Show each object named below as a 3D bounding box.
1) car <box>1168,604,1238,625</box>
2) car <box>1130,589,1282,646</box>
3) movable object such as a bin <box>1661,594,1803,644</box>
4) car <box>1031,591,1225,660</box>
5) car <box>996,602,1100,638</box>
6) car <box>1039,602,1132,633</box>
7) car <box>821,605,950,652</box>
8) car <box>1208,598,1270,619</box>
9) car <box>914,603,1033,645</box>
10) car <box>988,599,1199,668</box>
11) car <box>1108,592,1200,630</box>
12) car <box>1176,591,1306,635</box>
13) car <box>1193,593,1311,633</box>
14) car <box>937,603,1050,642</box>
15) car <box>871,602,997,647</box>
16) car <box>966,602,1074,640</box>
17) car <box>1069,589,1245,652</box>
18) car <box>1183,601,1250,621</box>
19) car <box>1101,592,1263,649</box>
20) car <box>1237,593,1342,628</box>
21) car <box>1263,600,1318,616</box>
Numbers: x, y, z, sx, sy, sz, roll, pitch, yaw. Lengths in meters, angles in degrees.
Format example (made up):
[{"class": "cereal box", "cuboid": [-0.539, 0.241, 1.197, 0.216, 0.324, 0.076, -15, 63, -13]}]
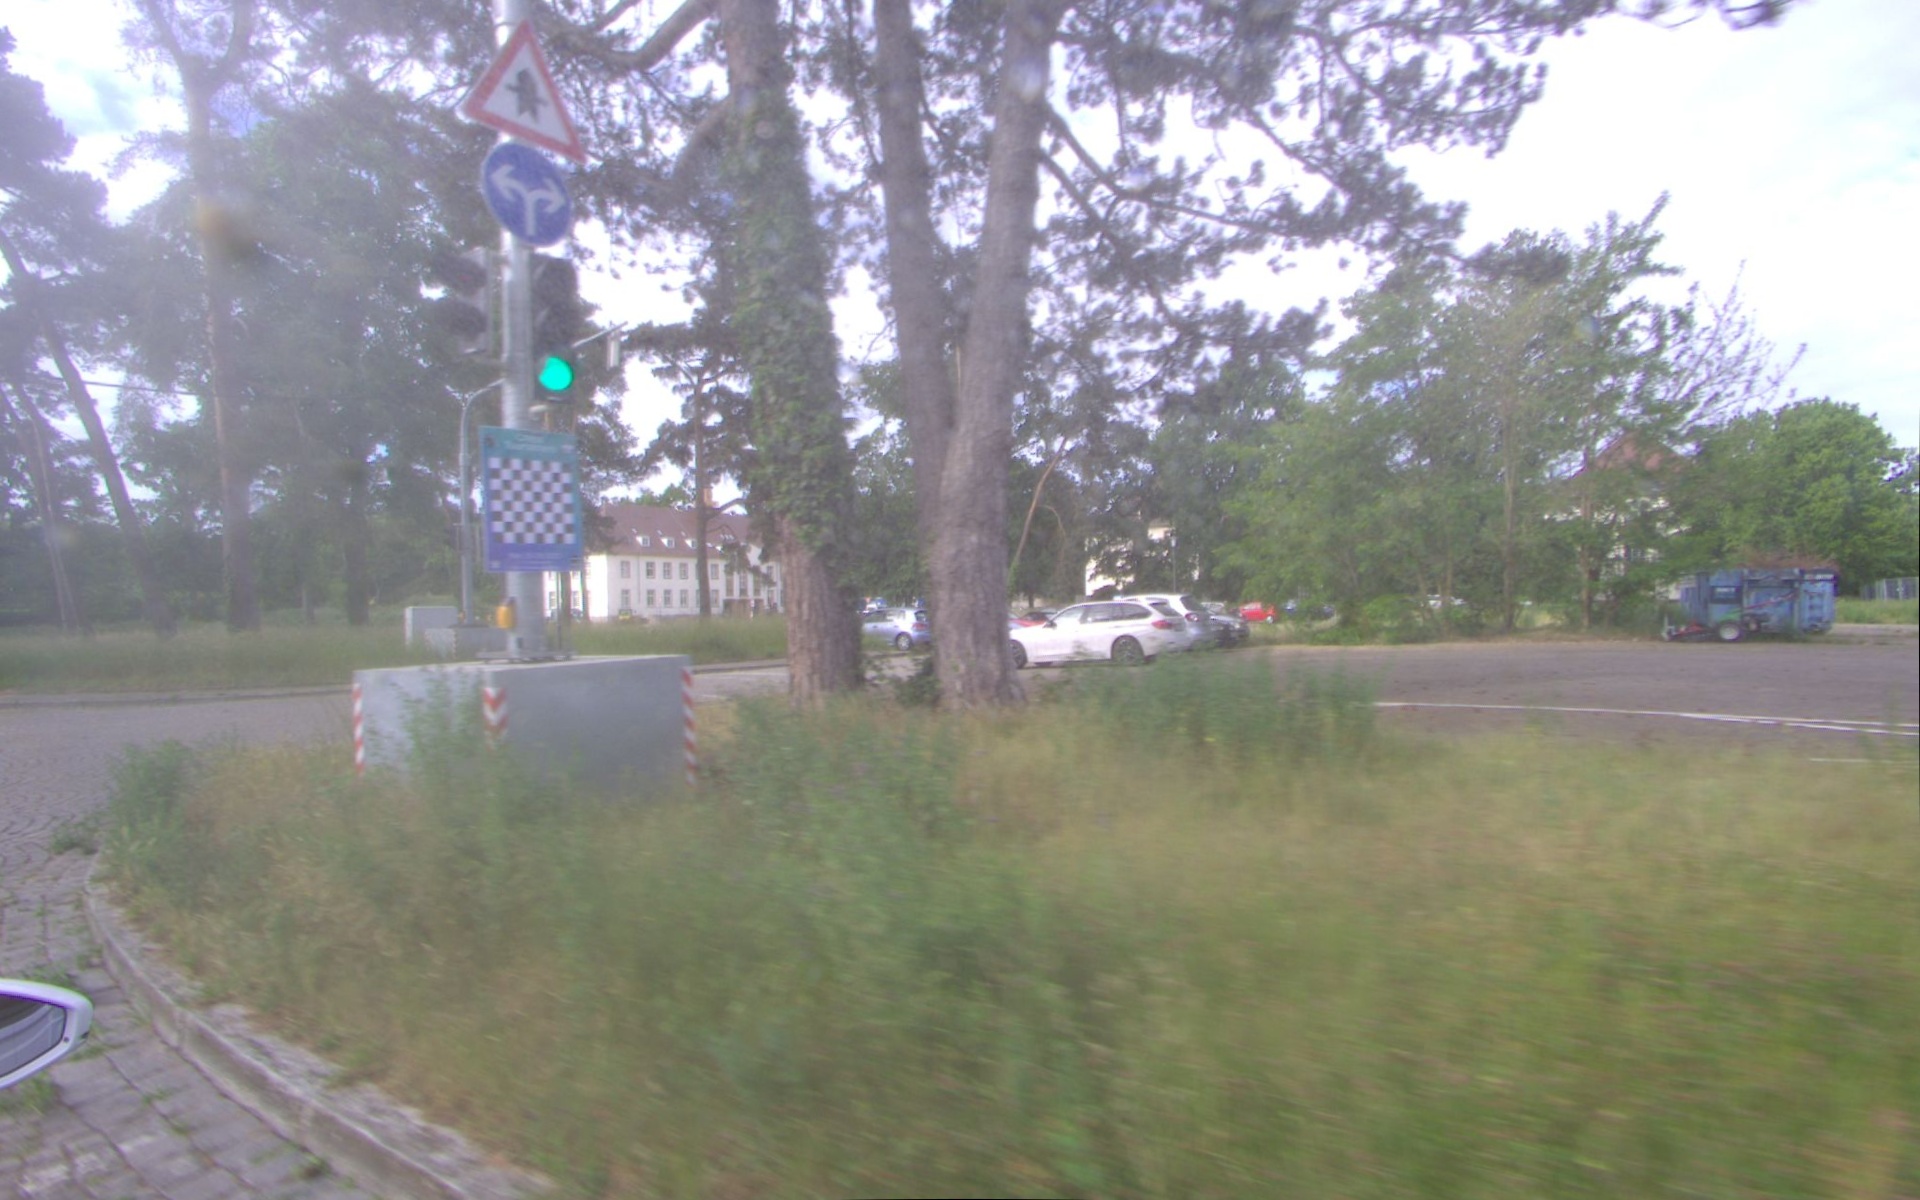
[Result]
[{"class": "car", "cuboid": [14.936, 0.899, 61.658, 3.935, 1.225, 1.657, -1, 0, 25]}, {"class": "car", "cuboid": [7.856, 0.541, 32.013, 4.381, 1.709, 1.863, -1, 0, 30]}, {"class": "movable object such as a bin", "cuboid": [17.933, 0.418, 23.375, 2.506, 1.098, 1.059, 1, 1, 32]}, {"class": "car", "cuboid": [4.156, 0.606, 24.928, 4.381, 1.598, 1.863, -1, 0, 30]}, {"class": "car", "cuboid": [3.962, 0.894, 45.323, 4.381, 1.544, 1.749, -1, 0, 30]}, {"class": "car", "cuboid": [6.430, 0.889, 51.346, 4.381, 1.544, 1.749, -1, 0, 30]}, {"class": "car", "cuboid": [-2.651, 0.983, 35.044, 4.387, 1.544, 1.747, -1, 0, 35]}, {"class": "car", "cuboid": [19.789, 0.597, 71.056, 3.938, 1.373, 1.655, -1, 0, 28]}, {"class": "car", "cuboid": [0.508, 0.940, 39.059, 4.381, 1.544, 1.749, -1, 0, 30]}, {"class": "car", "cuboid": [2.980, 0.750, 22.615, 4.382, 1.434, 1.749, -2, 0, 30]}, {"class": "car", "cuboid": [10.496, 0.620, 54.329, 4.588, 1.993, 1.749, -1, 0, 30]}, {"class": "car", "cuboid": [10.590, 0.491, 37.808, 4.381, 1.598, 1.863, -1, 0, 30]}, {"class": "car", "cuboid": [12.122, 0.537, 41.651, 4.381, 1.598, 1.863, -1, 0, 30]}, {"class": "car", "cuboid": [1.359, 0.932, 41.432, 4.381, 1.544, 1.749, -1, 0, 30]}, {"class": "car", "cuboid": [-0.969, 0.887, 36.850, 4.381, 1.544, 1.750, -1, 0, 30]}, {"class": "car", "cuboid": [2.576, 0.912, 43.365, 4.381, 1.544, 1.749, -1, 0, 30]}, {"class": "car", "cuboid": [5.359, 0.548, 27.399, 4.381, 1.598, 1.863, -1, 0, 30]}, {"class": "car", "cuboid": [16.423, 0.733, 64.225, 3.935, 1.225, 1.657, -1, 0, 25]}, {"class": "car", "cuboid": [6.608, 0.589, 29.894, 4.381, 1.598, 1.863, -1, 0, 30]}, {"class": "car", "cuboid": [15.408, 0.495, 46.830, 4.381, 1.598, 1.863, -1, 0, 30]}, {"class": "car", "cuboid": [26.077, 0.635, 79.034, 3.938, 1.225, 1.655, -1, 0, 28]}]
